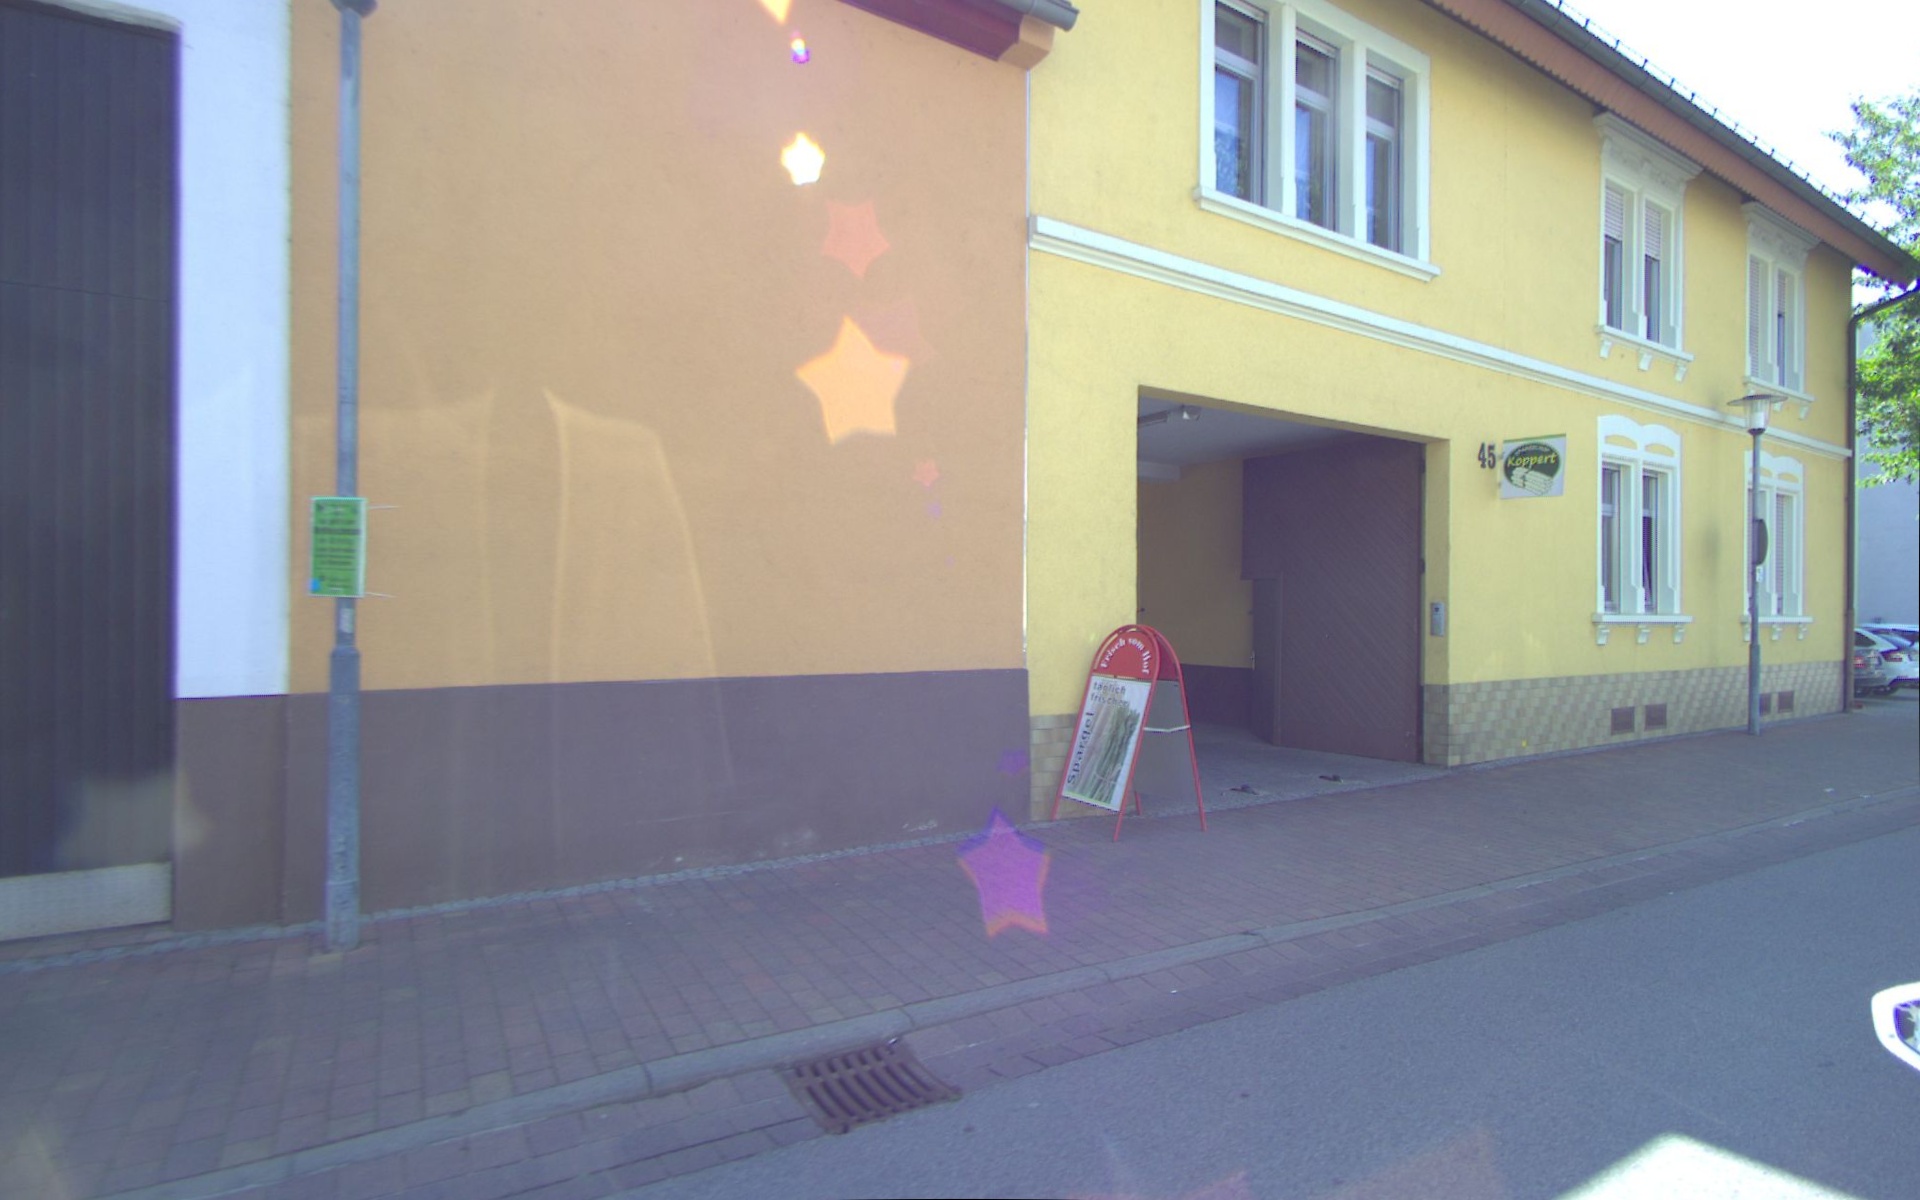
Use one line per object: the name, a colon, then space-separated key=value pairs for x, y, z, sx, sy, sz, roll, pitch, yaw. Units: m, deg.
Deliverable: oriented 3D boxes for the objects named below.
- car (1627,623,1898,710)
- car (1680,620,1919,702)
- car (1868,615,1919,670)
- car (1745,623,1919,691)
car: x=16.347 y=1.271 z=20.641 sx=1.952 sy=1.450 sz=3.961 roll=0 pitch=1 yaw=-35
car: x=18.427 y=1.252 z=21.982 sx=1.788 sy=1.471 sz=3.964 roll=0 pitch=1 yaw=-32
car: x=29.622 y=1.303 z=29.117 sx=2.124 sy=1.575 sz=4.481 roll=1 pitch=0 yaw=-32
car: x=22.556 y=1.356 z=24.915 sx=1.913 sy=1.574 sz=4.481 roll=0 pitch=-1 yaw=-31
